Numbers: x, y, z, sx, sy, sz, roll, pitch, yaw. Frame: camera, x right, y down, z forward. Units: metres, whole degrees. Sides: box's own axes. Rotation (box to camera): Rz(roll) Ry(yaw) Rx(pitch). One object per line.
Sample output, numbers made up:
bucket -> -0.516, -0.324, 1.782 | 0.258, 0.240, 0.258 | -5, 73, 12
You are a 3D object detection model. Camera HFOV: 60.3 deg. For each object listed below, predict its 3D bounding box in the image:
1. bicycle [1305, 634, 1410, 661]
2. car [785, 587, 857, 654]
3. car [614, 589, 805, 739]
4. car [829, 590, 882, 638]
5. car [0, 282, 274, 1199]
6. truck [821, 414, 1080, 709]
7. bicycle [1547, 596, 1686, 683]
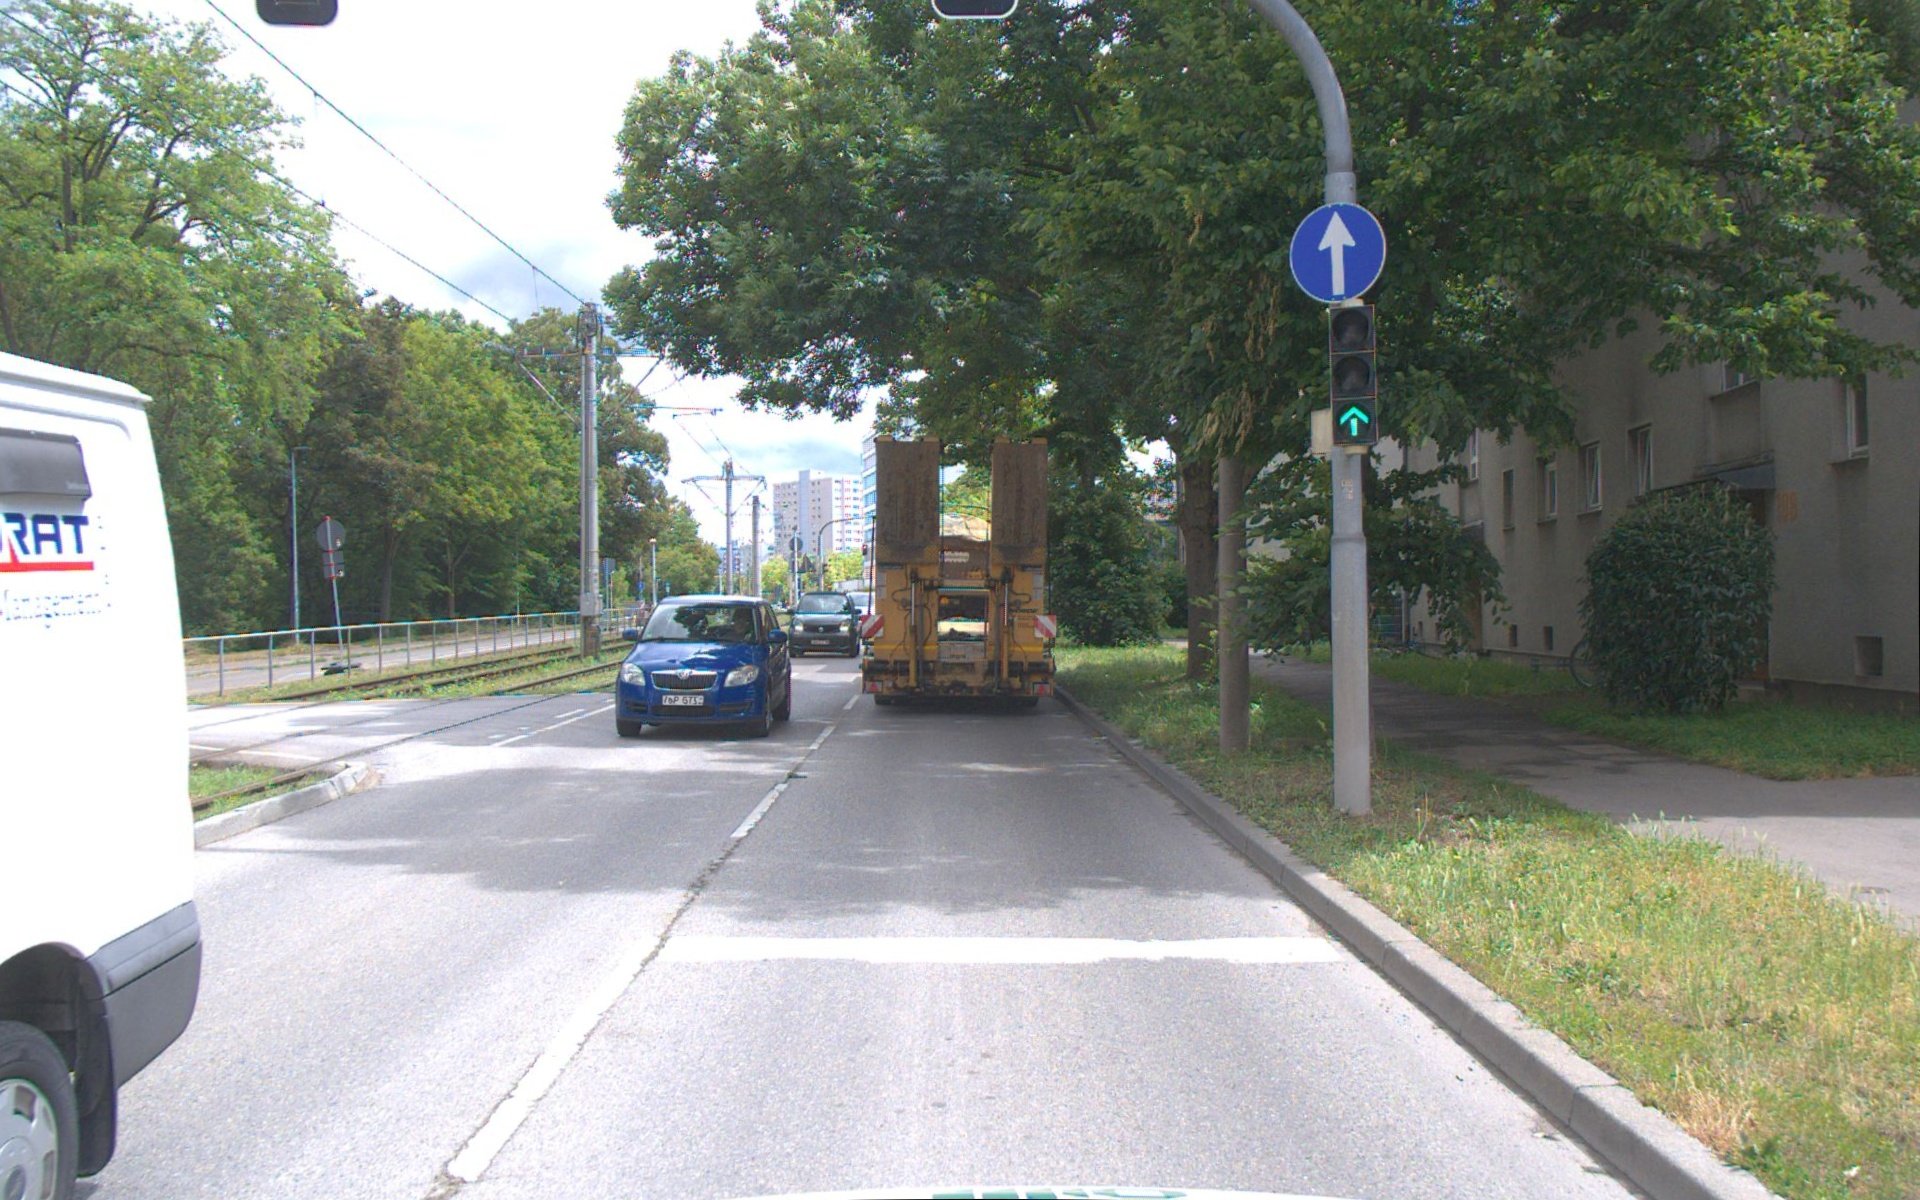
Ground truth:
bicycle -> 8.491, 1.017, 35.395 | 2.157, 0.516, 0.674 | 1, -1, 10
car -> -3.399, 0.478, 40.881 | 1.604, 1.560, 3.274 | 1, 0, -2
car -> -2.739, 0.644, 18.815 | 1.549, 1.511, 3.806 | 1, 0, 0
car -> -3.631, 0.475, 57.932 | 1.682, 1.571, 3.999 | 1, 1, -2
car -> -2.733, 0.421, 1.981 | 1.953, 2.031, 4.784 | 0, 0, -2
truck -> -0.346, -0.412, 27.211 | 3.249, 3.715, 12.555 | 0, -1, -2
bicycle -> 8.589, 0.507, 21.697 | 0.432, 1.099, 1.732 | 1, -1, -35
